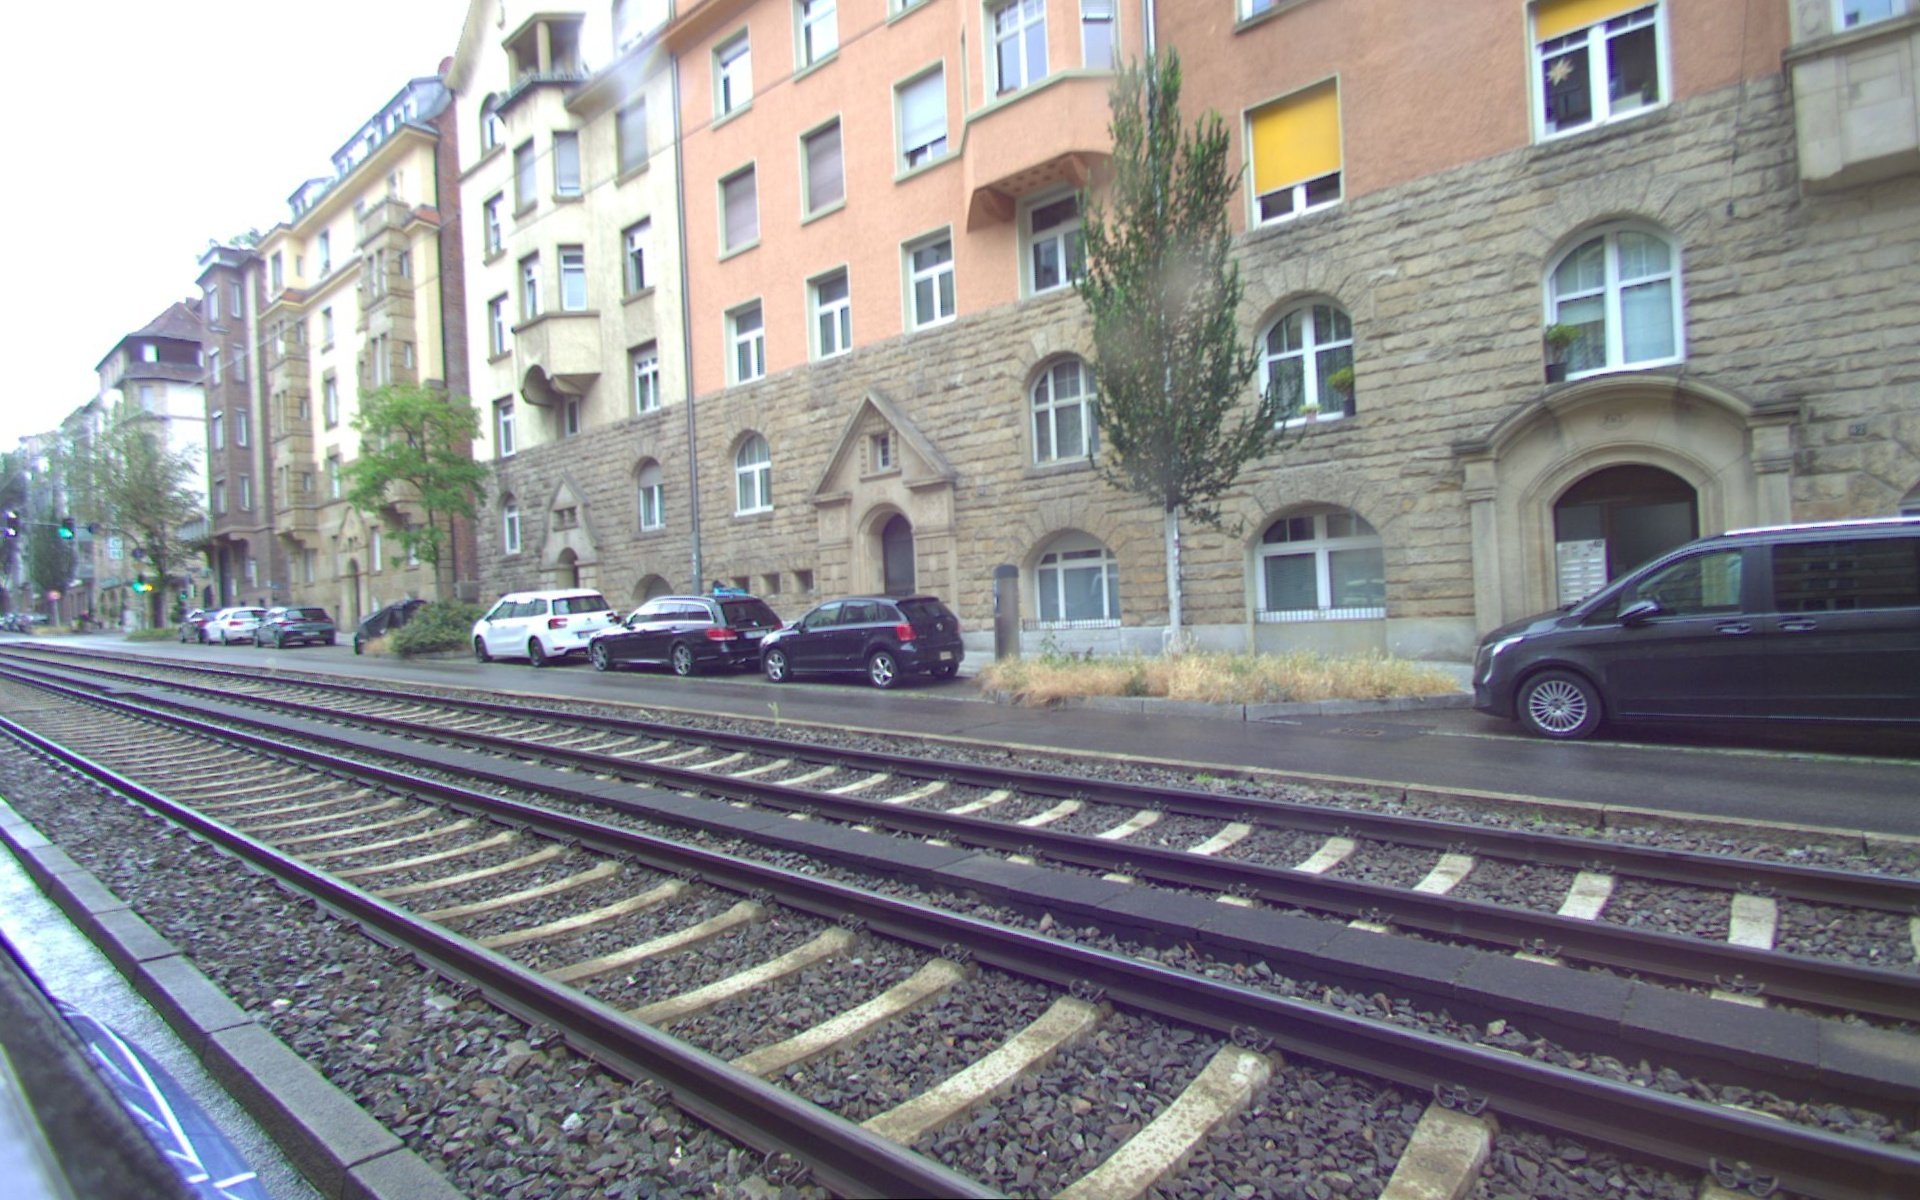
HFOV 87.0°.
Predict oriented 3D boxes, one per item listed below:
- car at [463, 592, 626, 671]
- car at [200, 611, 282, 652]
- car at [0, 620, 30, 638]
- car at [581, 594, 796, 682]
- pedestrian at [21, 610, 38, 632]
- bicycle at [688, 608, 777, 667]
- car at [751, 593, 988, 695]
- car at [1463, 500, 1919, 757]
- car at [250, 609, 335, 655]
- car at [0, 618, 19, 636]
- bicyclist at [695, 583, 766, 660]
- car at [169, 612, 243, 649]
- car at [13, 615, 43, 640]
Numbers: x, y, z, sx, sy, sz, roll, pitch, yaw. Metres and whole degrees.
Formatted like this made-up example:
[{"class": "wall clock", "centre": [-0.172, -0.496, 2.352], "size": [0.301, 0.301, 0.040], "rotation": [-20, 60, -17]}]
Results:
[{"class": "car", "centre": [-9.743, 0.702, 23.611], "size": [4.144, 1.668, 1.843], "rotation": [-1, 0, 41]}, {"class": "car", "centre": [-28.283, 1.212, 39.763], "size": [4.030, 1.452, 1.748], "rotation": [-1, 1, 42]}, {"class": "car", "centre": [-74.287, 2.284, 79.339], "size": [3.843, 1.321, 1.563], "rotation": [-1, 0, 41]}, {"class": "car", "centre": [-5.435, 0.697, 19.938], "size": [4.599, 1.506, 1.824], "rotation": [-1, 0, 41]}, {"class": "pedestrian", "centre": [-88.602, 2.006, 96.357], "size": [1.163, 1.972, 1.042], "rotation": [-1, 0, 43]}, {"class": "bicycle", "centre": [-4.938, 0.801, 21.911], "size": [2.036, 1.195, 0.815], "rotation": [-1, 1, 42]}, {"class": "car", "centre": [-1.554, 0.668, 16.916], "size": [3.638, 1.508, 1.912], "rotation": [-1, 0, 38]}, {"class": "car", "centre": [7.349, 0.214, 8.982], "size": [4.823, 1.956, 1.973], "rotation": [-1, 0, 41]}, {"class": "car", "centre": [-23.681, 1.096, 35.860], "size": [3.845, 1.452, 1.656], "rotation": [-1, 1, 43]}, {"class": "car", "centre": [-80.914, 2.292, 85.413], "size": [3.843, 1.527, 1.748], "rotation": [-1, 0, 41]}, {"class": "bicyclist", "centre": [-4.995, 0.458, 22.014], "size": [1.252, 1.609, 0.876], "rotation": [-1, 0, 38]}, {"class": "car", "centre": [-32.141, 1.267, 43.086], "size": [3.843, 1.452, 1.748], "rotation": [-1, 0, 41]}, {"class": "car", "centre": [-69.039, 1.995, 74.974], "size": [1.561, 1.691, 3.794], "rotation": [-2, 2, -43]}]
